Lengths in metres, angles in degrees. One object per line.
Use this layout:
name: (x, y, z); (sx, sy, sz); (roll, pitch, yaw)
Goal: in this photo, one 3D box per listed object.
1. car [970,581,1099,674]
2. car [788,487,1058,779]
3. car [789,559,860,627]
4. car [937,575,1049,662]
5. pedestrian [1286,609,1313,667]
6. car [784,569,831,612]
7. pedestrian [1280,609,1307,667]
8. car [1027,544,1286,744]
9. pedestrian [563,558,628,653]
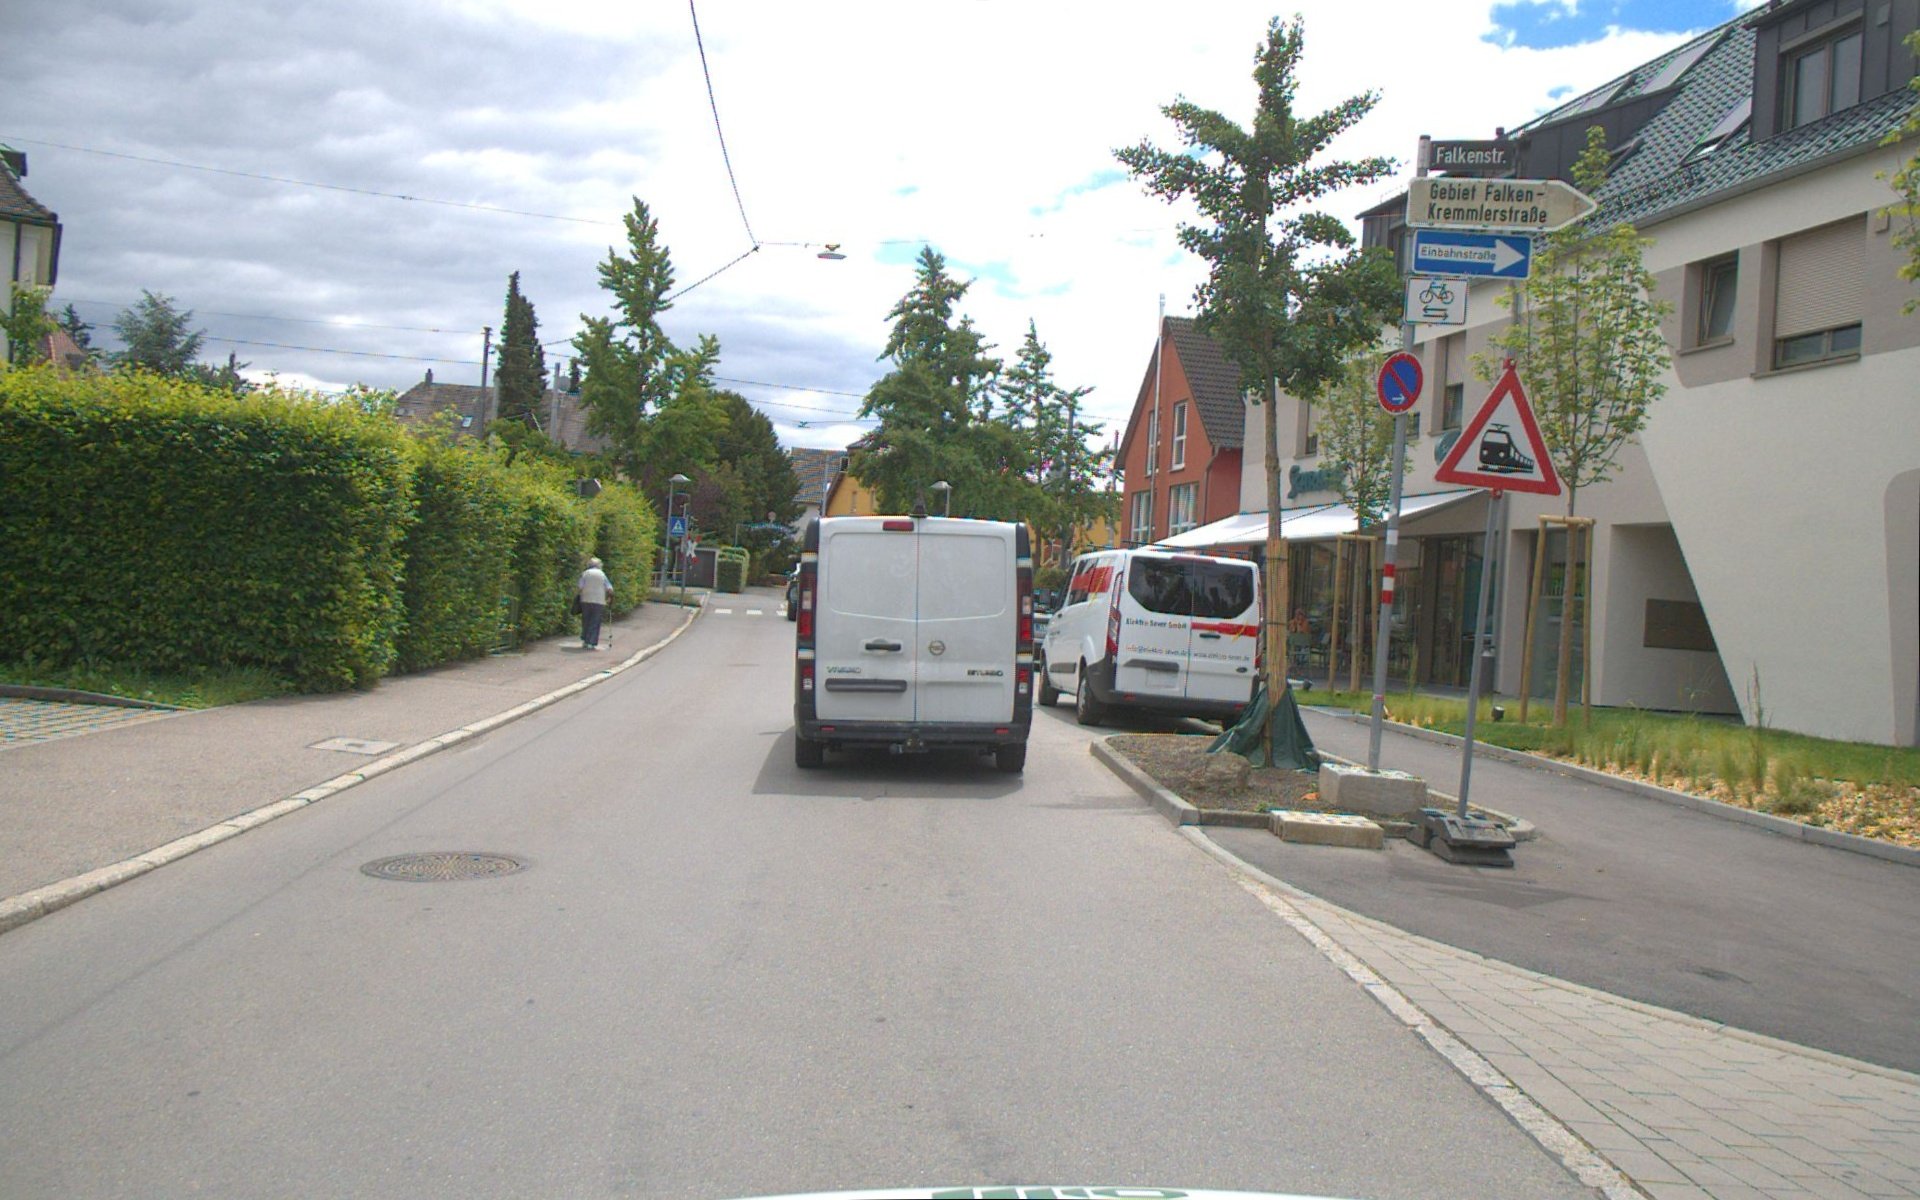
car: (1.359, 0.494, 31.653); (1.709, 1.520, 3.648); (5, -1, -8)
car: (-0.429, 0.261, 14.246); (1.878, 2.037, 4.433); (3, -1, -4)
car: (-4.087, -0.197, 49.601); (1.955, 1.880, 3.995); (3, 0, -5)
car: (0.661, 0.355, 36.398); (1.671, 1.642, 4.251); (5, 0, -8)
pedestrian: (7.104, 0.800, 34.644); (0.413, 1.186, 0.323); (3, -1, -7)
car: (-6.769, -0.406, 73.504); (1.955, 1.813, 3.995); (2, 0, -5)
pedestrian: (7.050, 0.794, 34.998); (0.413, 1.202, 0.323); (3, -1, -7)
car: (2.195, 0.469, 19.986); (1.921, 1.948, 4.895); (5, -1, -6)
pedestrian: (-6.112, 0.094, 27.766); (0.865, 1.510, 0.452); (6, -1, -25)
